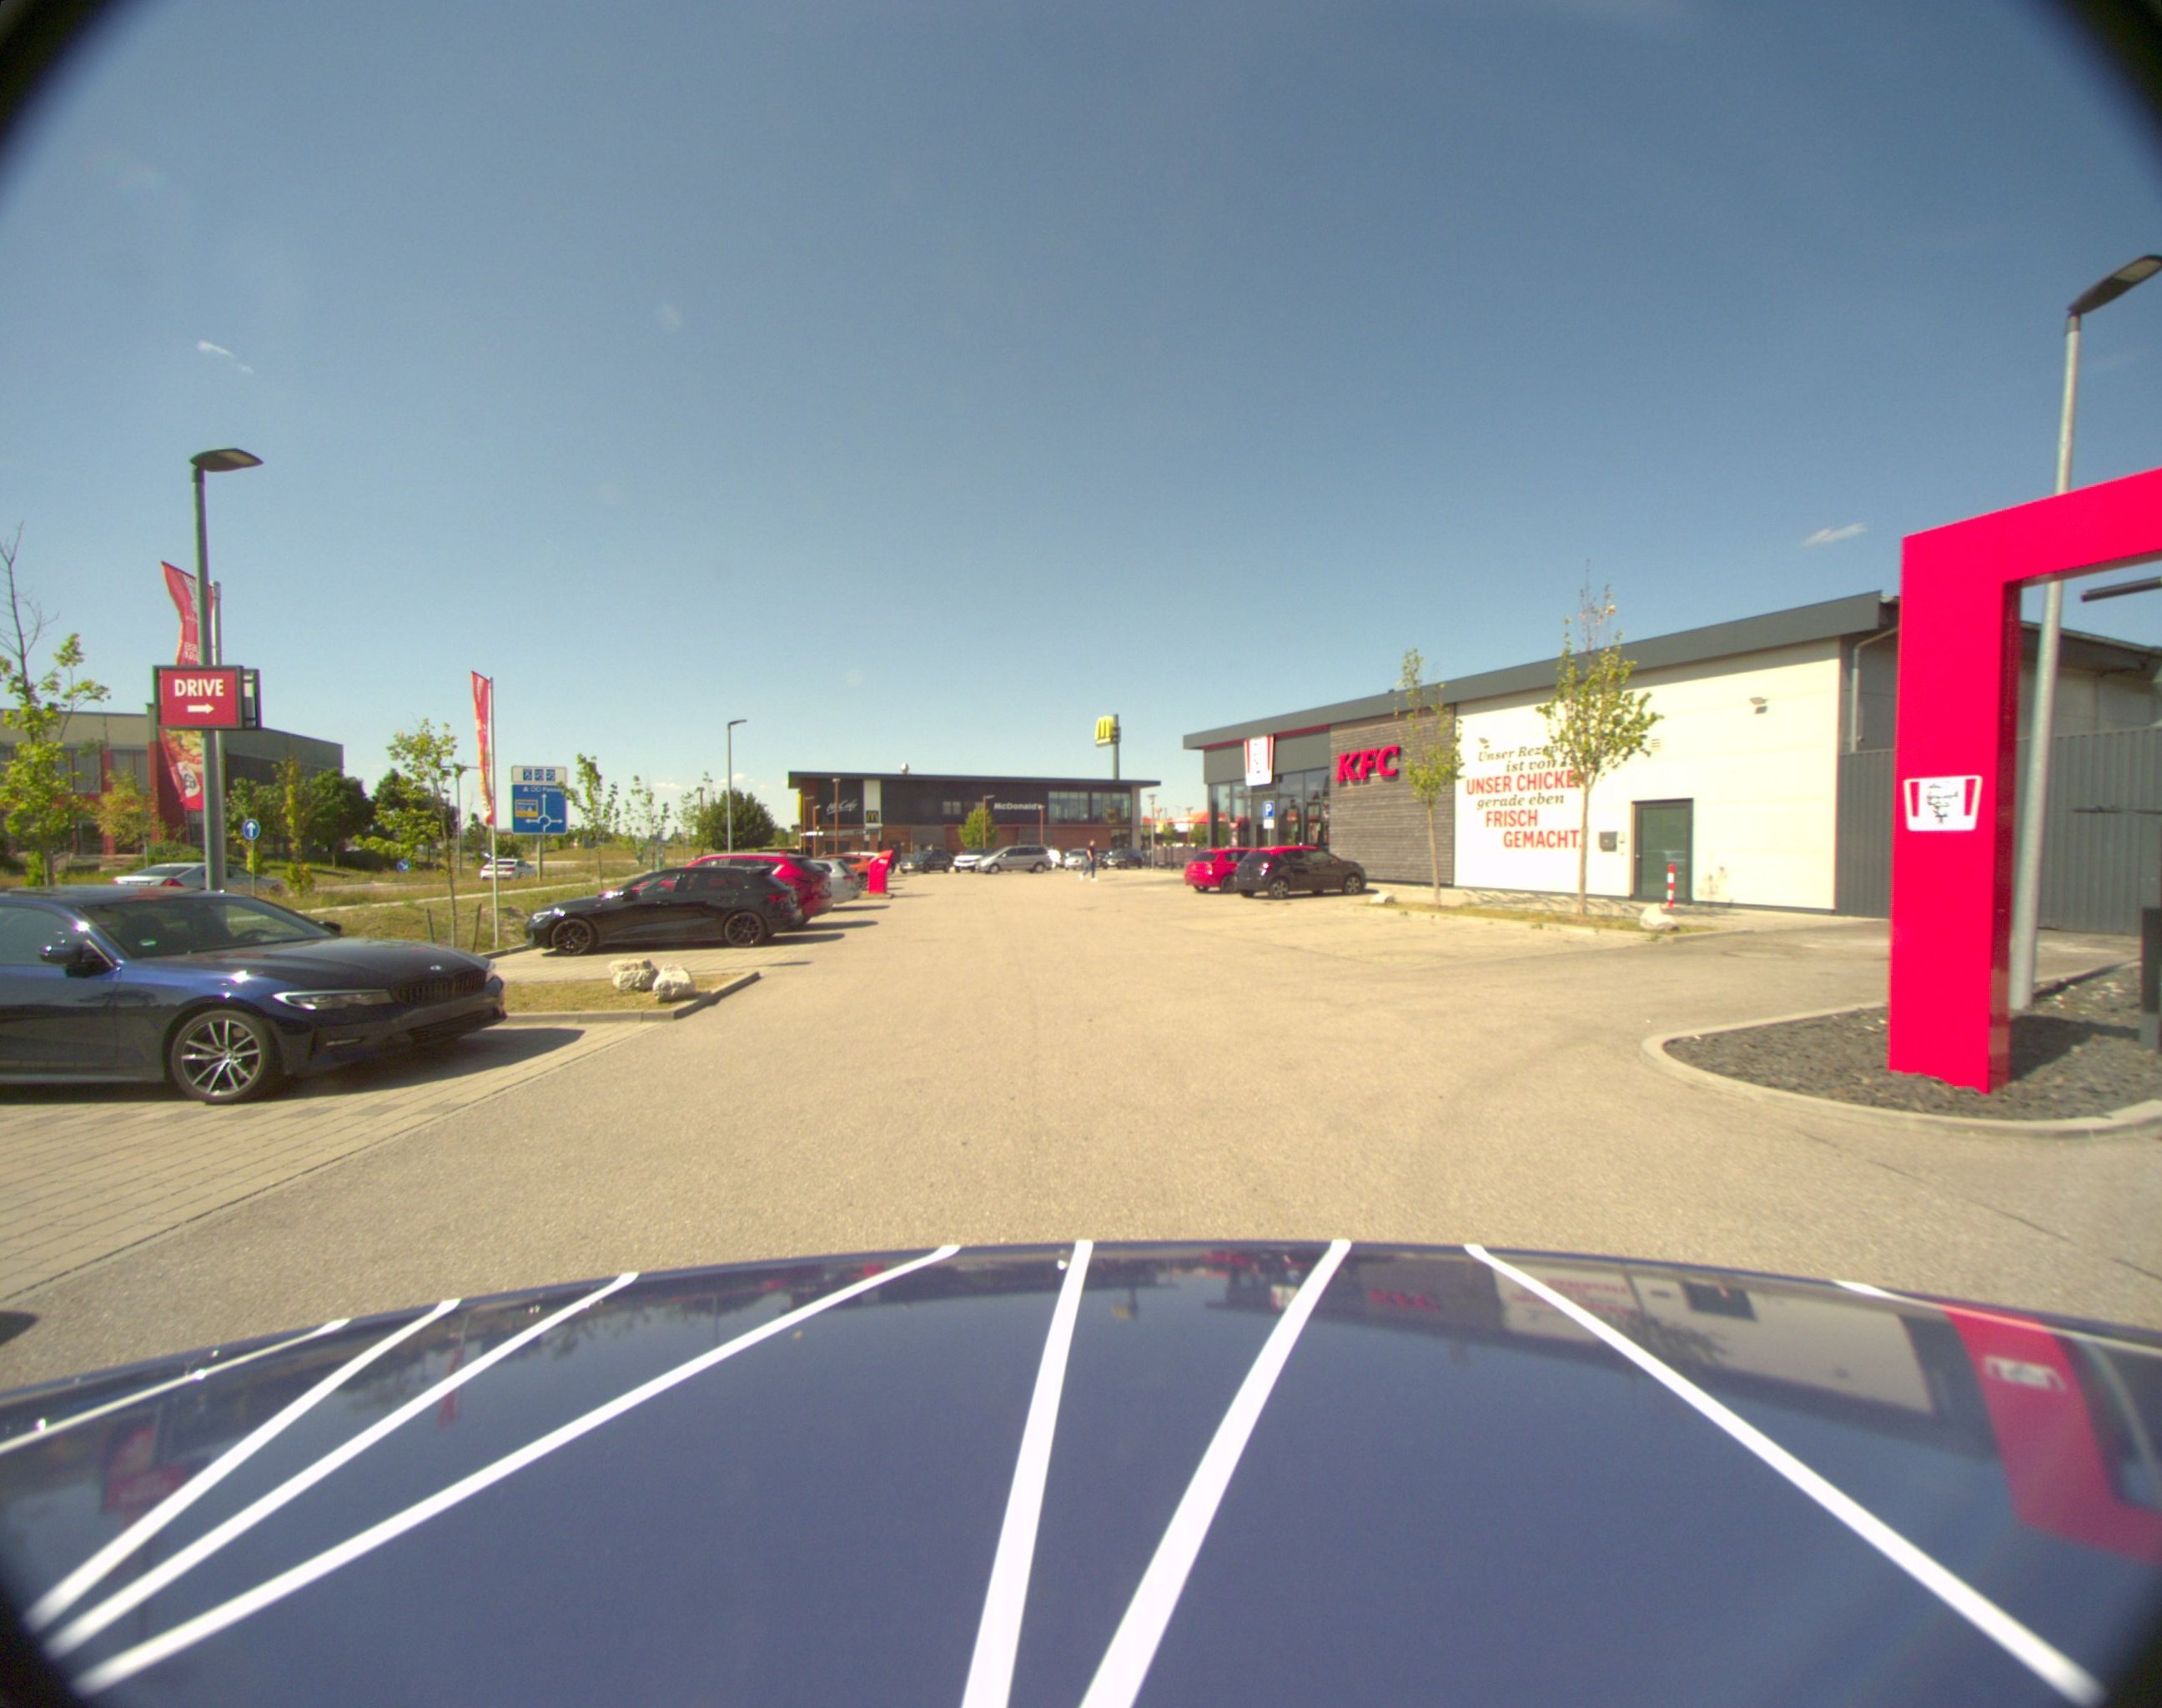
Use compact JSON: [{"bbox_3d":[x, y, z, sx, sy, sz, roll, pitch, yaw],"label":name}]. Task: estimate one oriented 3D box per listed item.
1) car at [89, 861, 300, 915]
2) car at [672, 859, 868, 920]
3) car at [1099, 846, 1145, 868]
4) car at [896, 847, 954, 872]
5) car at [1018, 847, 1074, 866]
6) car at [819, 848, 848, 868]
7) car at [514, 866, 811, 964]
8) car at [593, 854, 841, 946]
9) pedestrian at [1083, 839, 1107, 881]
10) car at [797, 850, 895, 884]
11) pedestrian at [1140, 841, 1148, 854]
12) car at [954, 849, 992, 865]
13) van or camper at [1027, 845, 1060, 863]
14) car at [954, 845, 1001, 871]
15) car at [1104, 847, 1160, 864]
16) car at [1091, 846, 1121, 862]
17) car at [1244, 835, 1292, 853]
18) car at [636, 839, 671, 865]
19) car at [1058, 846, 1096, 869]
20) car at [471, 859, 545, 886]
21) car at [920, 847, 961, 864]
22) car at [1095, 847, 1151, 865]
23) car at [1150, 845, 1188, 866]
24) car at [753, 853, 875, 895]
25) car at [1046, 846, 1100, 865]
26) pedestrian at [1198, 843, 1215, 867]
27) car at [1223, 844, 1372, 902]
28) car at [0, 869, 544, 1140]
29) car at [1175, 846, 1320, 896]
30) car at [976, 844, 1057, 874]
[{"bbox_3d":[-28.768,1.035,24.950,2.000,1.518,4.652,-1,0,-11],"label":"car"},{"bbox_3d":[-8.235,0.904,20.550,4.602,1.405,1.738,-2,1,-11],"label":"car"},{"bbox_3d":[3.008,0.198,54.791,1.971,1.478,4.790,-1,0,21],"label":"car"},{"bbox_3d":[-10.095,0.336,49.536,1.971,1.517,4.212,-1,0,16],"label":"car"},{"bbox_3d":[-2.821,0.222,61.315,4.104,1.484,1.714,-1,1,25],"label":"car"},{"bbox_3d":[-21.417,0.315,65.676,1.999,1.681,4.227,0,1,-24],"label":"car"},{"bbox_3d":[-7.138,0.991,13.414,4.207,1.402,1.771,-2,1,-11],"label":"car"},{"bbox_3d":[-7.405,0.883,15.910,4.231,1.628,1.949,-2,1,-9],"label":"car"},{"bbox_3d":[0.600,0.250,32.812,0.994,1.799,0.726,-2,2,0],"label":"pedestrian"},{"bbox_3d":[-11.598,0.619,37.796,4.483,1.461,1.830,-2,1,-15],"label":"car"},{"bbox_3d":[7.745,-0.817,93.731,0.700,1.550,0.723,0,1,40],"label":"pedestrian"},{"bbox_3d":[-10.384,0.304,73.089,1.958,1.457,4.473,-1,0,16],"label":"car"},{"bbox_3d":[-3.727,-0.034,75.915,1.708,1.765,4.034,-1,0,21],"label":"van or camper"},{"bbox_3d":[-6.834,0.263,50.688,1.972,1.645,4.210,-1,0,9],"label":"car"},{"bbox_3d":[4.621,0.147,69.083,4.633,1.478,1.899,-1,1,25],"label":"car"},{"bbox_3d":[2.619,-0.008,78.005,1.713,1.603,4.042,-1,0,23],"label":"car"},{"bbox_3d":[16.999,-0.868,68.947,3.991,1.543,1.757,-1,0,21],"label":"car"},{"bbox_3d":[-38.763,-0.182,68.992,2.002,2.184,5.097,-1,0,-20],"label":"car"},{"bbox_3d":[-0.234,0.218,53.166,1.972,1.517,4.210,-1,0,9],"label":"car"},{"bbox_3d":[-34.221,1.058,45.539,2.001,1.518,4.650,-1,0,-17],"label":"car"},{"bbox_3d":[-13.574,0.162,73.511,1.958,1.593,4.473,-1,0,18],"label":"car"},{"bbox_3d":[3.545,0.157,63.749,4.269,1.478,1.816,-1,1,25],"label":"car"},{"bbox_3d":[6.533,0.116,55.974,1.832,1.451,4.376,-1,0,19],"label":"car"},{"bbox_3d":[-10.482,0.757,30.177,4.355,1.461,1.830,-2,1,-15],"label":"car"},{"bbox_3d":[-0.644,0.131,63.019,4.104,1.506,1.816,-1,1,25],"label":"car"},{"bbox_3d":[6.795,0.036,41.086,0.625,1.266,0.612,-1,1,-38],"label":"pedestrian"},{"bbox_3d":[6.295,0.500,22.120,3.912,1.498,1.737,-2,1,-22],"label":"car"},{"bbox_3d":[-7.062,1.016,5.813,4.448,1.628,1.895,-1,1,-2],"label":"car"},{"bbox_3d":[5.444,0.510,24.753,4.406,1.405,1.737,-2,1,-24],"label":"car"},{"bbox_3d":[-3.982,0.258,46.910,4.688,1.738,1.829,-1,1,-22],"label":"car"}]
